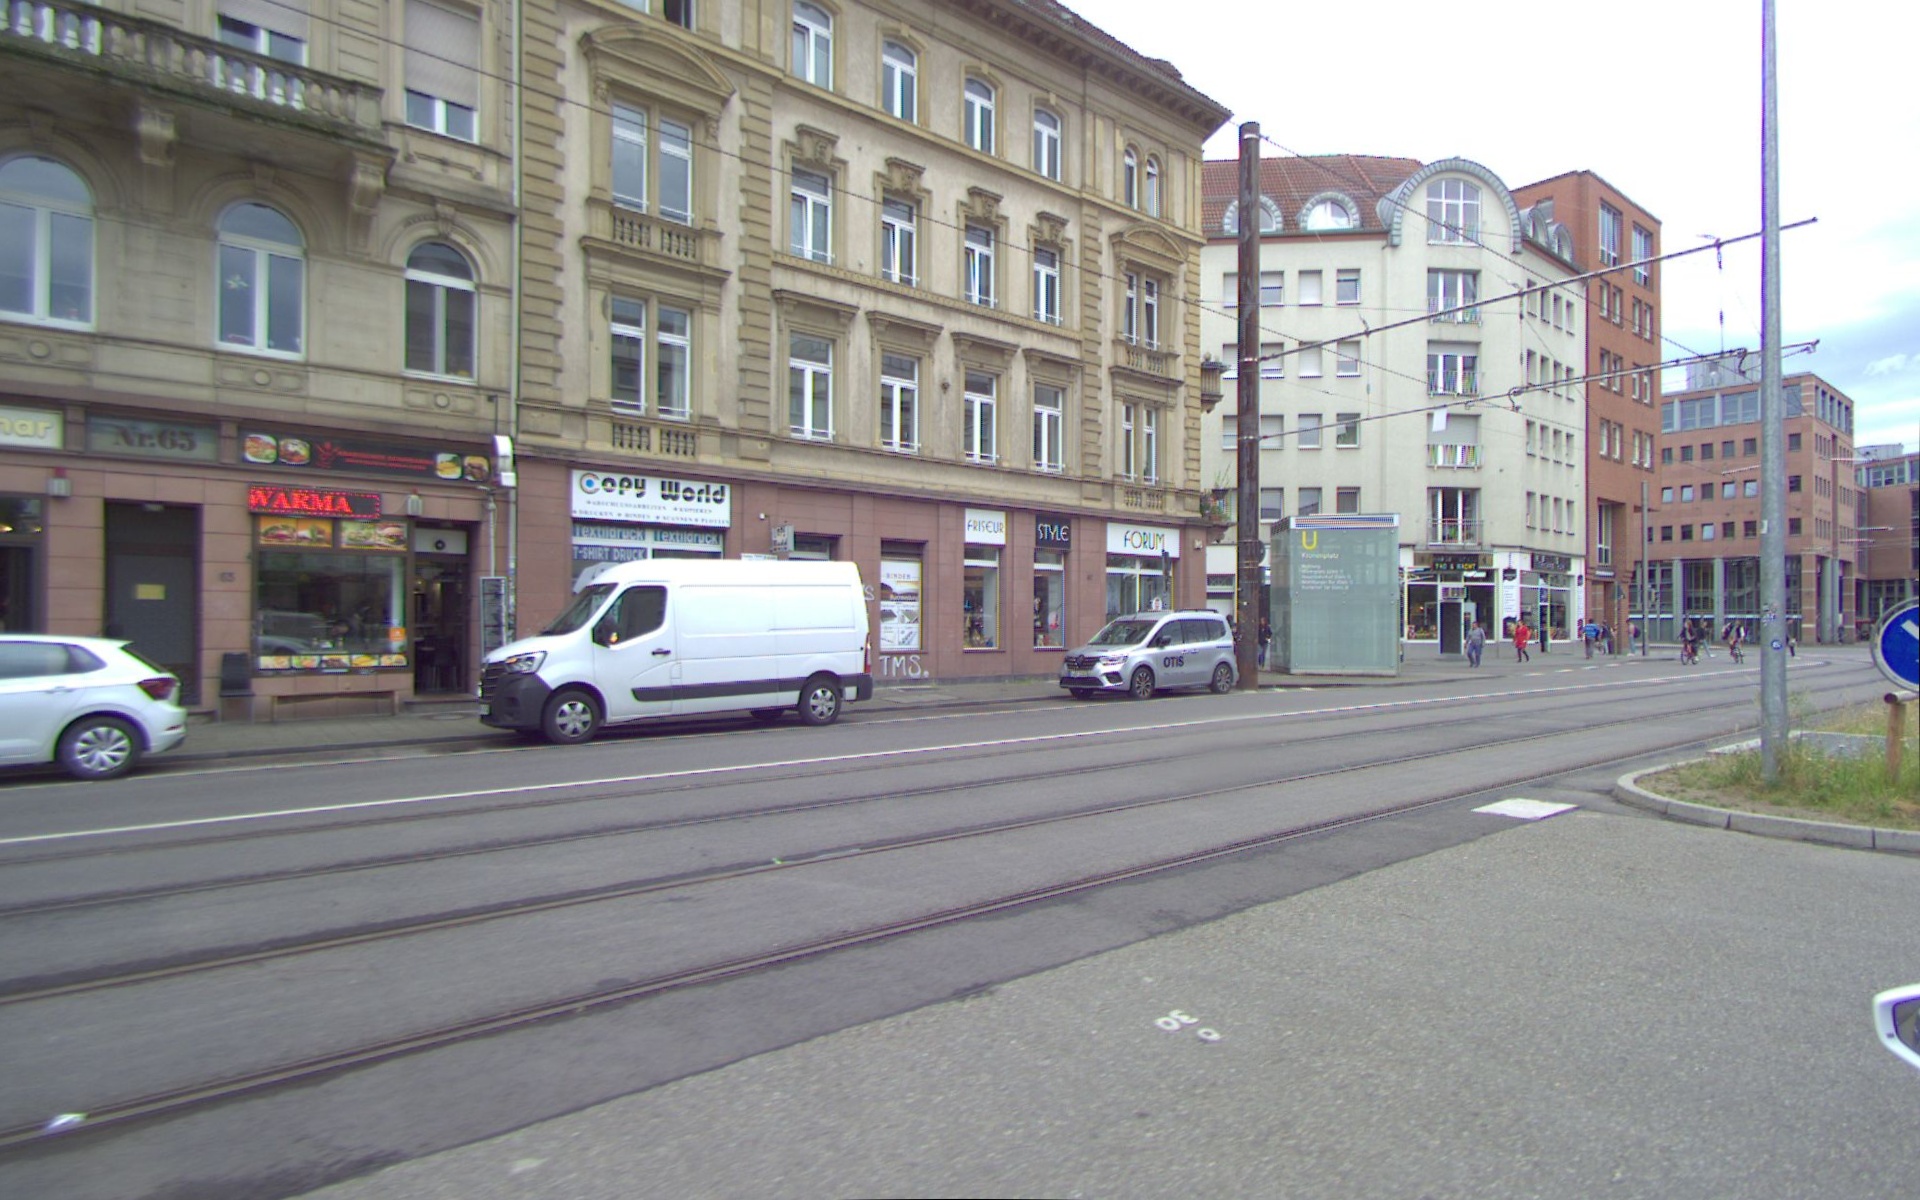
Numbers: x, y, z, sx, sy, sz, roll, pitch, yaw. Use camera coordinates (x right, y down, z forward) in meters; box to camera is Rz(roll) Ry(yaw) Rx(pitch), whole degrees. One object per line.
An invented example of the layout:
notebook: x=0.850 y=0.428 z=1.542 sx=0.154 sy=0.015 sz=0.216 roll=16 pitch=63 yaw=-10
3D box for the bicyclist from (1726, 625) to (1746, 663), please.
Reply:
bicyclist: x=31.781 y=1.789 z=41.148 sx=0.805 sy=1.561 sz=0.487 roll=1 pitch=-2 yaw=-41

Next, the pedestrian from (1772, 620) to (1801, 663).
pedestrian: x=37.613 y=1.893 z=45.702 sx=0.793 sy=1.915 sz=0.889 roll=2 pitch=-1 yaw=-41

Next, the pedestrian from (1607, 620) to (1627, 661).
pedestrian: x=27.494 y=1.698 z=42.044 sx=0.652 sy=1.709 sz=0.720 roll=-1 pitch=-3 yaw=39

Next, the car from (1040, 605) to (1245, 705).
car: x=3.941 y=1.129 z=21.295 sx=4.484 sy=1.889 sz=1.887 roll=1 pitch=-3 yaw=-41

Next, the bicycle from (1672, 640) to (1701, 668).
bicycle: x=28.283 y=2.080 z=39.077 sx=1.897 sy=1.034 sz=0.475 roll=1 pitch=-2 yaw=-41

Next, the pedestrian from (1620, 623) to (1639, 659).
pedestrian: x=32.237 y=1.990 z=48.340 sx=0.793 sy=1.706 sz=0.563 roll=2 pitch=-1 yaw=-43

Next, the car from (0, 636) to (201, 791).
car: x=-9.988 y=1.110 z=9.723 sx=4.132 sy=1.441 sz=1.756 roll=1 pitch=-4 yaw=-41

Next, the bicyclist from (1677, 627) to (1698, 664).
bicyclist: x=28.354 y=1.751 z=39.144 sx=0.805 sy=1.425 sz=0.475 roll=1 pitch=-2 yaw=-41

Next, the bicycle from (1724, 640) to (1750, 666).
bicycle: x=31.974 y=2.185 z=41.307 sx=1.897 sy=1.034 sz=0.472 roll=1 pitch=-2 yaw=-41

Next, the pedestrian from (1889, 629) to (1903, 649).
pedestrian: x=86.362 y=3.594 z=92.672 sx=0.724 sy=1.866 sz=0.698 roll=1 pitch=0 yaw=-26

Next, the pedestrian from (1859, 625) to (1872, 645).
pedestrian: x=85.690 y=3.308 z=95.054 sx=0.721 sy=1.866 sz=0.702 roll=1 pitch=0 yaw=27

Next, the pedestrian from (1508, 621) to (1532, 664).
pedestrian: x=22.291 y=1.693 z=39.970 sx=0.712 sy=1.709 sz=0.659 roll=-1 pitch=-3 yaw=41

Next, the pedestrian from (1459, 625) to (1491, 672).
pedestrian: x=19.164 y=1.815 z=37.394 sx=0.812 sy=1.709 sz=0.720 roll=2 pitch=-2 yaw=-19

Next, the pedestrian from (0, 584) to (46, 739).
pedestrian: x=-12.974 y=0.809 z=13.505 sx=0.695 sy=2.040 sz=0.748 roll=1 pitch=0 yaw=21

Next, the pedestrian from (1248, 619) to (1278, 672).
pedestrian: x=9.191 y=1.375 z=30.442 sx=0.648 sy=1.577 sz=0.552 roll=1 pitch=0 yaw=-26

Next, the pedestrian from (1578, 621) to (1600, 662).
pedestrian: x=26.020 y=1.715 z=41.565 sx=0.652 sy=1.709 sz=0.719 roll=-1 pitch=-3 yaw=42

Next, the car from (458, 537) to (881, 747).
car: x=-4.033 y=0.609 z=14.666 sx=5.620 sy=2.519 sz=2.036 roll=1 pitch=-4 yaw=-40

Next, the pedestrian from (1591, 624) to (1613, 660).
pedestrian: x=31.004 y=2.037 z=48.512 sx=0.857 sy=1.709 sz=0.660 roll=-1 pitch=-3 yaw=37

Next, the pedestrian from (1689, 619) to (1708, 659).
pedestrian: x=35.894 y=1.915 z=48.834 sx=0.793 sy=1.914 sz=0.605 roll=2 pitch=-2 yaw=-41

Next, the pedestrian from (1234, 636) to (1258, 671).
pedestrian: x=8.801 y=1.641 z=30.912 sx=0.448 sy=1.044 sz=0.551 roll=1 pitch=0 yaw=-30
